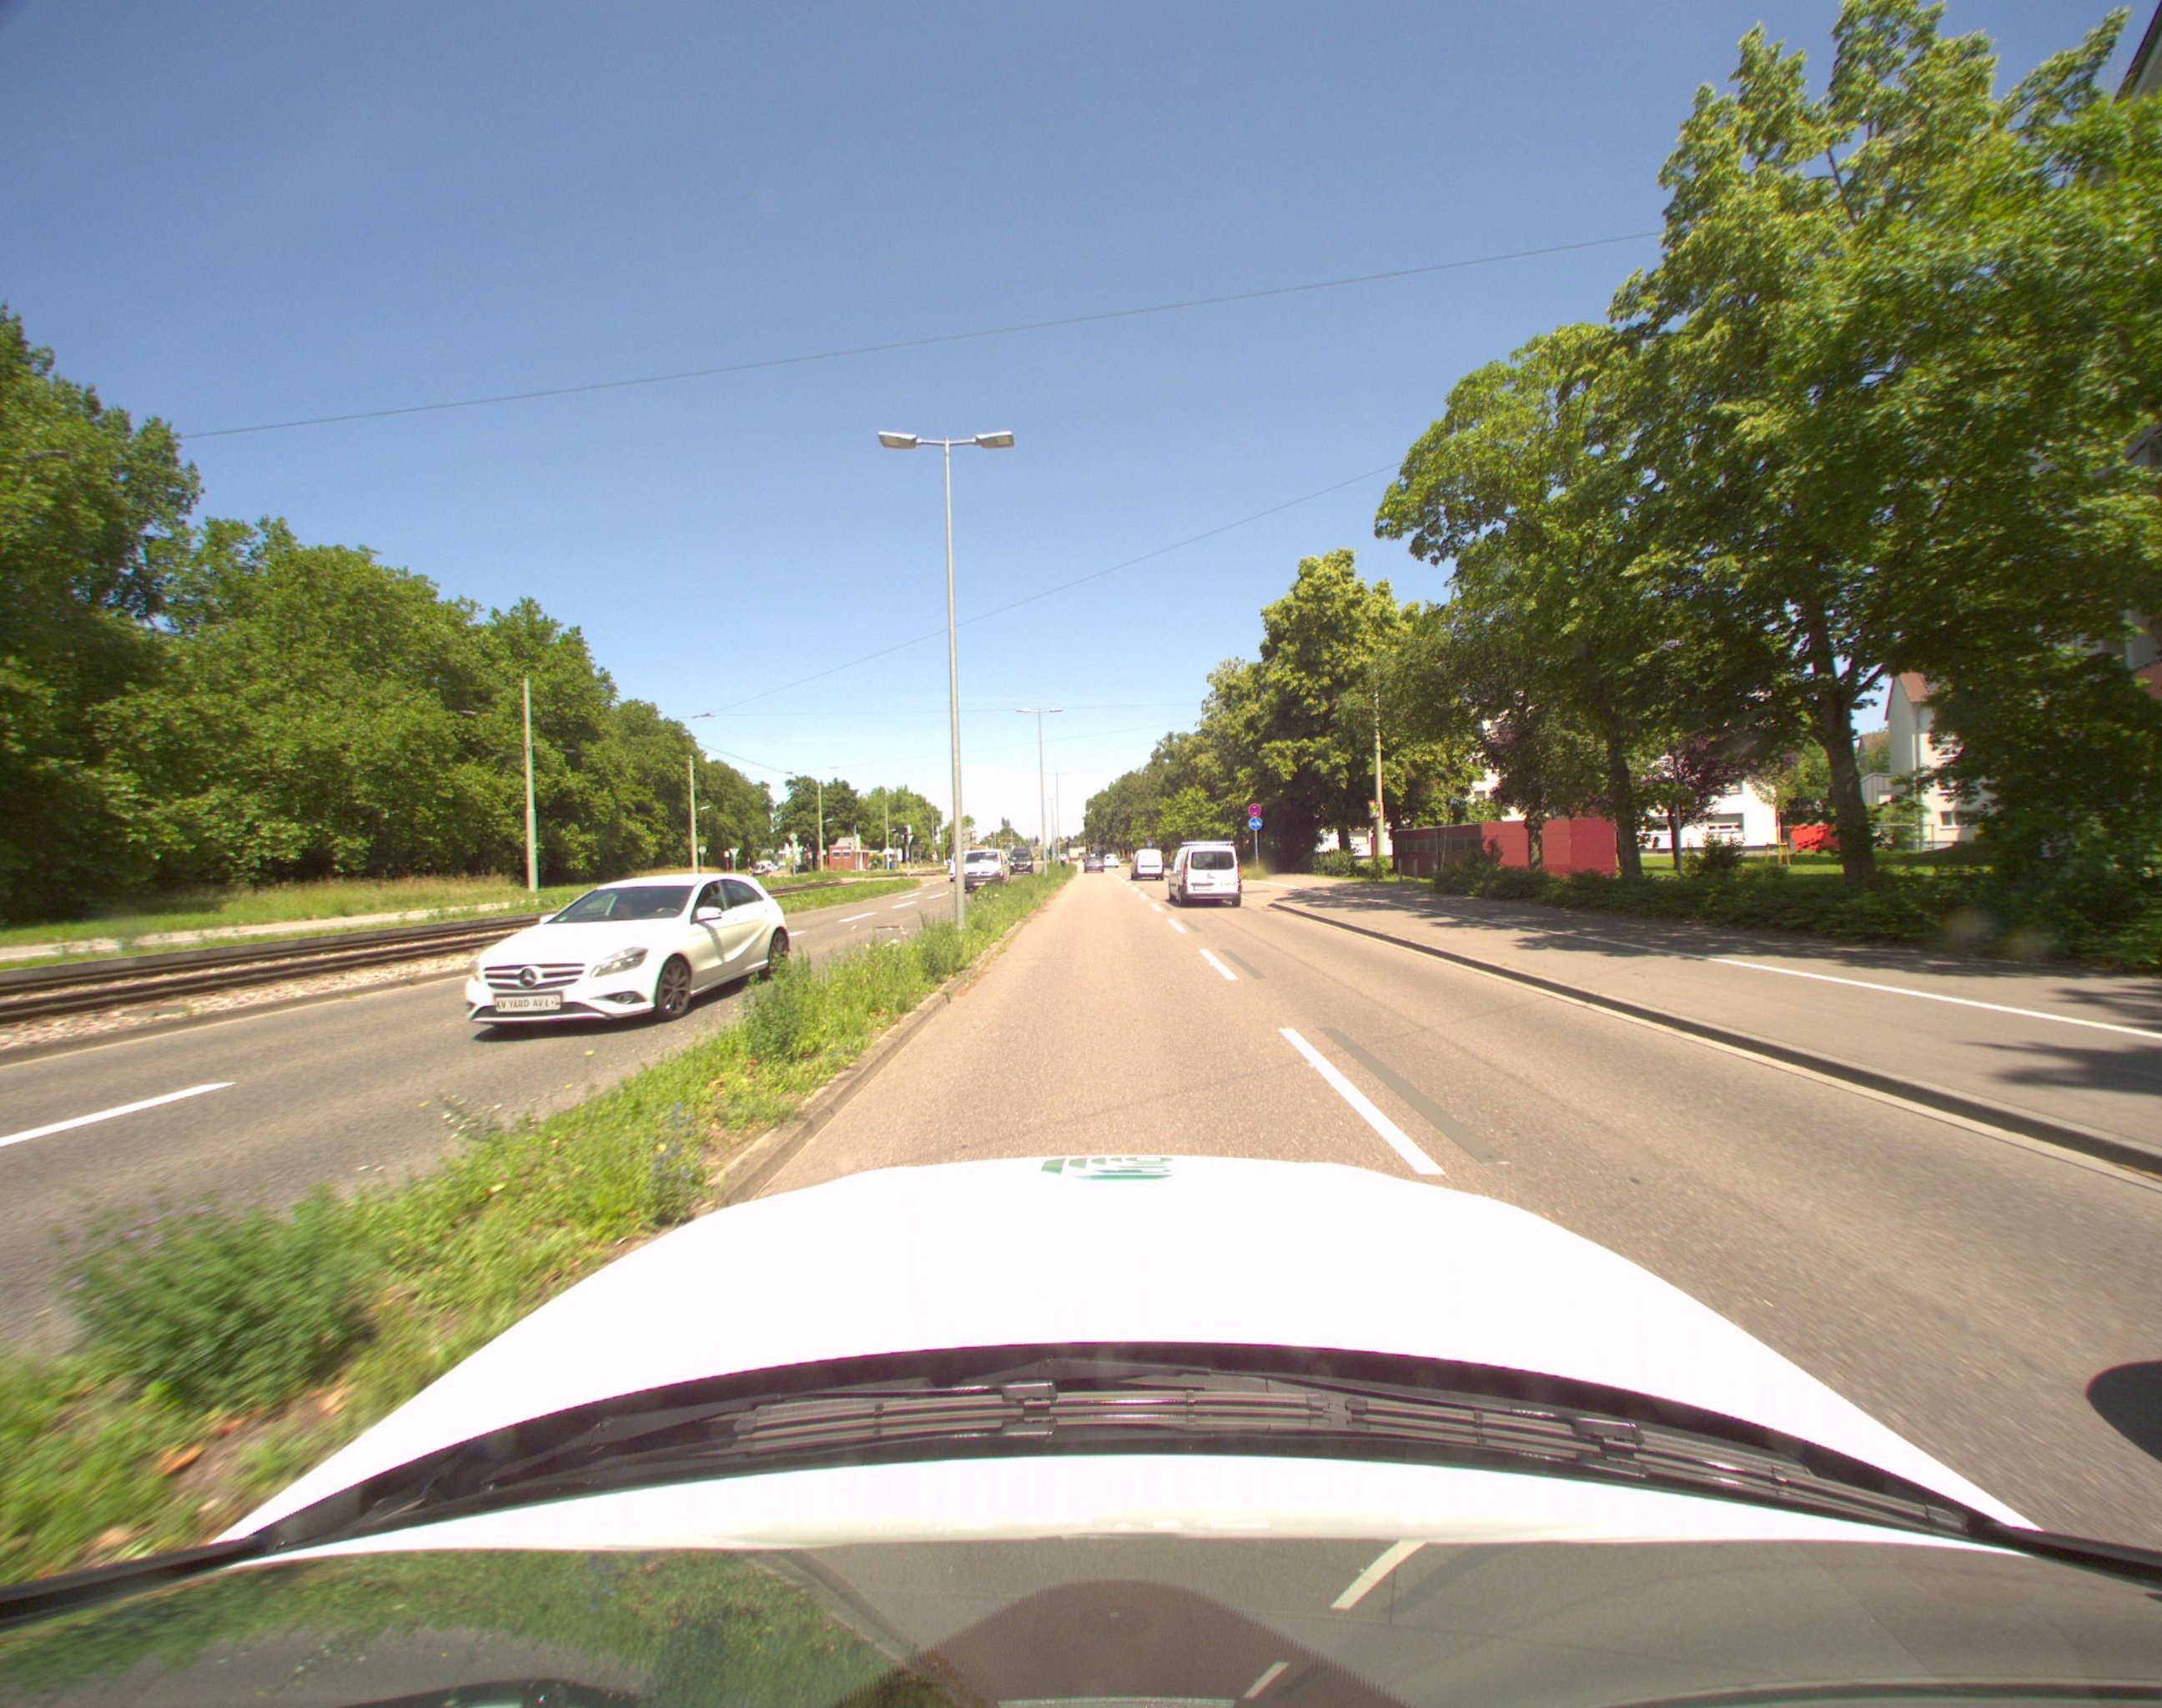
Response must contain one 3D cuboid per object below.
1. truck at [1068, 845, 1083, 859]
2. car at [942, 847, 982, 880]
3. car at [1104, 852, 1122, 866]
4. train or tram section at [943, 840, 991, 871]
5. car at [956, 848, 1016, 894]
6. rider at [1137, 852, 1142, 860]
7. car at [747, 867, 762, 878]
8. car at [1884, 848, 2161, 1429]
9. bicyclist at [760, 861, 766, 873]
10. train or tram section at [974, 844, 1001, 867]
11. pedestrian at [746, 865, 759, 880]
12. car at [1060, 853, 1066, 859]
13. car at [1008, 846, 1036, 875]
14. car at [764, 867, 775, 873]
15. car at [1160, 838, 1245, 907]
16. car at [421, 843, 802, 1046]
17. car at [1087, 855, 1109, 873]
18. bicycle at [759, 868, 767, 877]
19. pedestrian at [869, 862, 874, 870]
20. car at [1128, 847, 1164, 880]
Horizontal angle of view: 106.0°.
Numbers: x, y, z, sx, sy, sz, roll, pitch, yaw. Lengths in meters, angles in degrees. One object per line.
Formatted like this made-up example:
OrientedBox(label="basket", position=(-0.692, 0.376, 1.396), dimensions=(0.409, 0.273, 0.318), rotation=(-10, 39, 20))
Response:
OrientedBox(label="truck", position=(-1.525, -0.473, 234.031), dimensions=(3.889, 3.812, 10.783), rotation=(-2, 0, -2))
OrientedBox(label="car", position=(-8.100, 0.608, 55.851), dimensions=(1.883, 2.017, 5.081), rotation=(-4, 0, 0))
OrientedBox(label="car", position=(3.670, 0.583, 94.325), dimensions=(1.798, 1.540, 3.997), rotation=(-1, 0, -2))
OrientedBox(label="train or tram section", position=(-15.839, 0.210, 117.376), dimensions=(2.780, 3.668, 37.487), rotation=(-1, 0, -2))
OrientedBox(label="car", position=(-4.335, 0.727, 38.158), dimensions=(1.823, 1.906, 5.569), rotation=(-3, 0, 2))
OrientedBox(label="rider", position=(9.757, 0.330, 135.416), dimensions=(0.676, 1.281, 0.533), rotation=(-1, 0, -3))
OrientedBox(label="car", position=(-46.811, 2.617, 116.753), dimensions=(2.002, 1.467, 3.970), rotation=(-1, 0, -22))
OrientedBox(label="car", position=(3.496, 0.703, 0.805), dimensions=(1.653, 1.449, 3.855), rotation=(-1, 0, 1))
OrientedBox(label="bicyclist", position=(-34.612, 1.437, 88.621), dimensions=(0.507, 1.336, 0.679), rotation=(-1, 0, -8))
OrientedBox(label="train or tram section", position=(-16.871, 0.327, 149.090), dimensions=(2.780, 3.668, 25.978), rotation=(-1, 0, -2))
OrientedBox(label="pedestrian", position=(-38.385, 2.134, 95.148), dimensions=(0.511, 1.701, 1.278), rotation=(-2, -1, 43))
OrientedBox(label="car", position=(-5.426, 0.528, 250.043), dimensions=(1.683, 1.897, 3.867), rotation=(-2, 0, -2))
OrientedBox(label="car", position=(-5.197, 0.551, 72.145), dimensions=(1.987, 2.366, 5.371), rotation=(-3, 0, -1))
OrientedBox(label="car", position=(-73.618, 3.740, 192.486), dimensions=(1.998, 1.467, 3.978), rotation=(-1, 0, -16))
OrientedBox(label="car", position=(3.597, 0.513, 24.799), dimensions=(1.819, 1.882, 4.453), rotation=(-1, 0, -1))
OrientedBox(label="car", position=(-4.940, 0.812, 9.375), dimensions=(1.823, 1.738, 4.040), rotation=(-3, 0, 2))
OrientedBox(label="car", position=(1.428, 0.855, 69.945), dimensions=(1.796, 1.486, 3.999), rotation=(-1, 0, 0))
OrientedBox(label="bicycle", position=(-34.630, 2.034, 88.708), dimensions=(0.507, 0.901, 1.562), rotation=(-1, 0, -7))
OrientedBox(label="pedestrian", position=(-27.370, 1.615, 106.431), dimensions=(0.480, 1.018, 0.522), rotation=(-2, 0, 0))
OrientedBox(label="car", position=(3.805, 0.526, 48.146), dimensions=(1.722, 1.814, 3.999), rotation=(-1, 0, -1))
